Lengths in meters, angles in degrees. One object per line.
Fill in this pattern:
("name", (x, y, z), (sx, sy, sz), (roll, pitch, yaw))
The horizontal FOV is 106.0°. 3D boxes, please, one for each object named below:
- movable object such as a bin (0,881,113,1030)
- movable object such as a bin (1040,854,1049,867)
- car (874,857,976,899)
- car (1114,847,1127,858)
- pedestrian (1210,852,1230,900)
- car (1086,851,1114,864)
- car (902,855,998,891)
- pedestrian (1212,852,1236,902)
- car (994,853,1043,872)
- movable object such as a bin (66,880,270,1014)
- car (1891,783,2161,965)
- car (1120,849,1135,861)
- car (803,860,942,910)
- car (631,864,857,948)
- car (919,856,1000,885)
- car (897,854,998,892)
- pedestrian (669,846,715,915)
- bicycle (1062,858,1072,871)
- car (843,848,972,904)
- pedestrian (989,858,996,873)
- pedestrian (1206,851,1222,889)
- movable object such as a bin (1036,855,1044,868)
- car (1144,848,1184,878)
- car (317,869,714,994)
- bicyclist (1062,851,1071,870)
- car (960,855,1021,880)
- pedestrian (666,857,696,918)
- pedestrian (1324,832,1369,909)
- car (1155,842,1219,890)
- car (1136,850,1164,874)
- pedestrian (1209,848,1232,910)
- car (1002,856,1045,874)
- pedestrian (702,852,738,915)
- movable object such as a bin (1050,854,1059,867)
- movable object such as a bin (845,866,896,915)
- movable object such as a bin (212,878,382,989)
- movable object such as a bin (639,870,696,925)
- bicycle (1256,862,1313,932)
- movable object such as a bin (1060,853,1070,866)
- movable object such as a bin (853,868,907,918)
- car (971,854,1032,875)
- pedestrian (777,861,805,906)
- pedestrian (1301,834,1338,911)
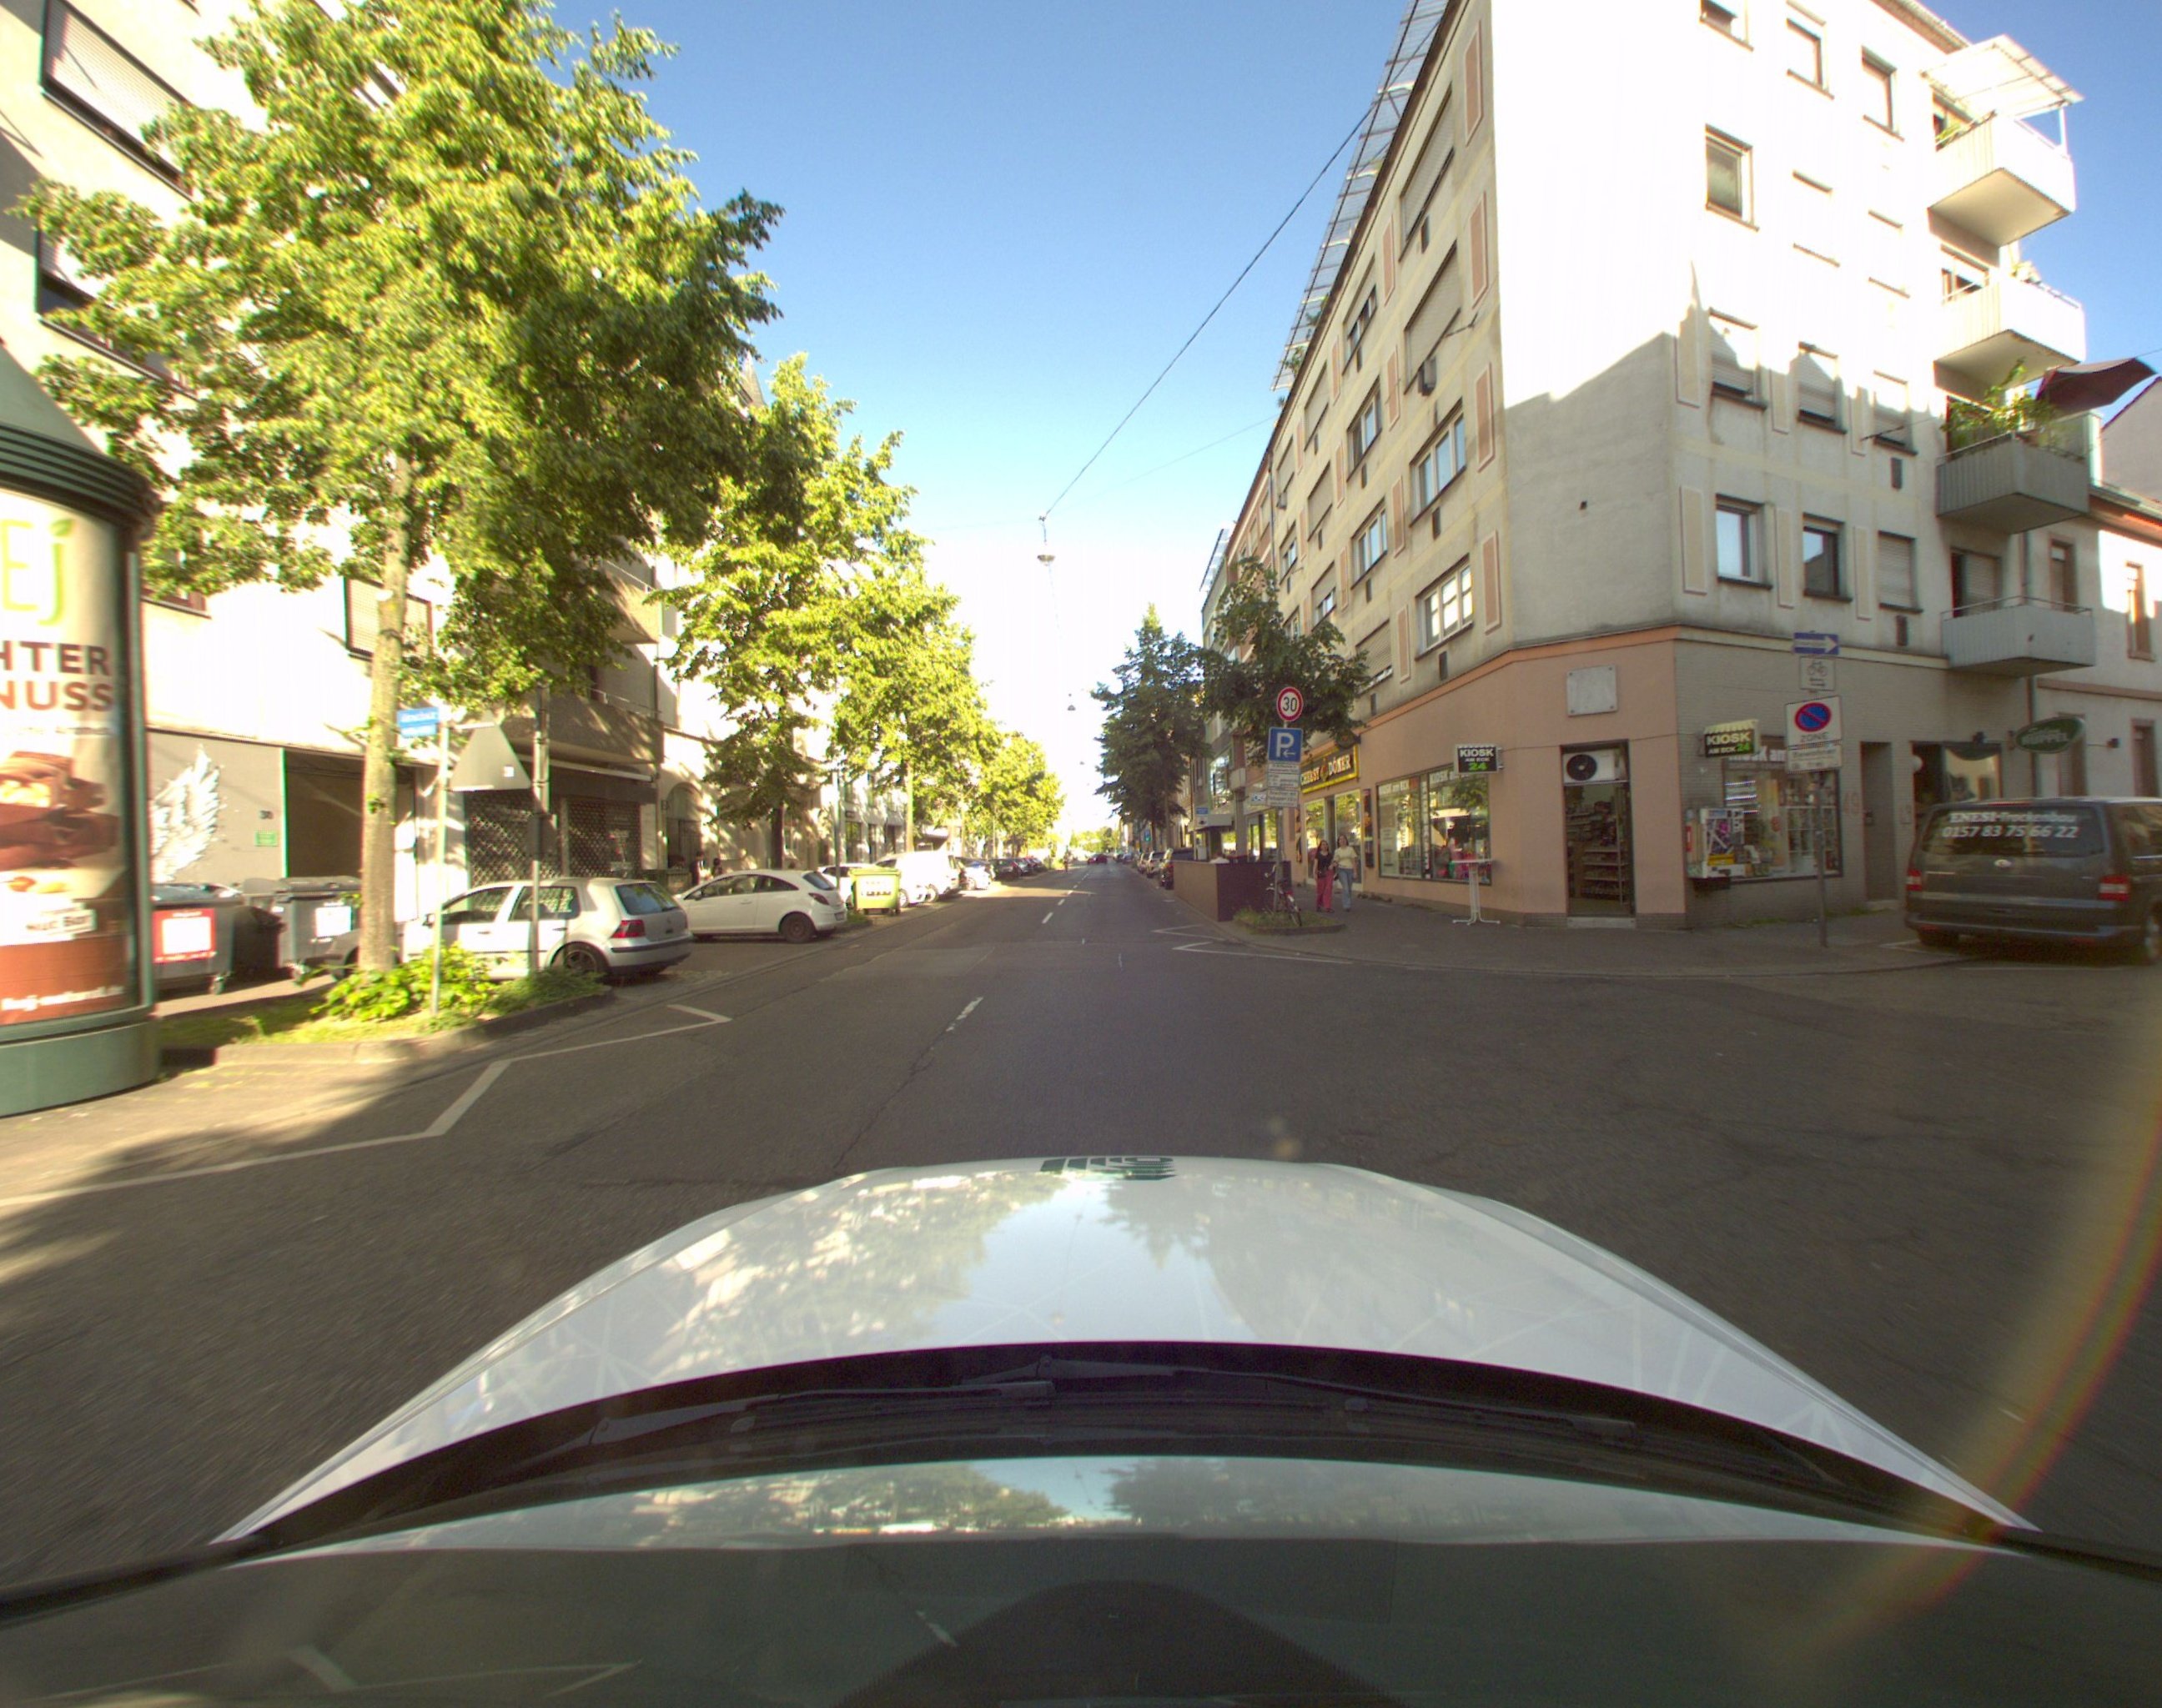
("movable object such as a bin", (-11.418, 1.067, 8.508), (1.029, 1.459, 1.259), (-3, 0, 2))
("movable object such as a bin", (-4.355, 0.781, 96.499), (0.960, 1.471, 1.143), (-3, 0, 0))
("car", (-6.389, 0.976, 33.686), (3.785, 1.558, 1.792), (-2, 0, 2))
("car", (6.546, -0.300, 135.335), (1.966, 1.725, 4.826), (-1, 0, 2))
("pedestrian", (4.092, 0.633, 23.915), (0.471, 1.362, 0.595), (-2, 0, 2))
("car", (2.824, 0.492, 119.270), (3.775, 1.535, 1.646), (-4, 0, -33))
("car", (-6.493, 0.917, 40.748), (4.350, 1.570, 1.981), (-2, 0, 2))
("pedestrian", (4.037, 0.640, 22.981), (0.550, 1.379, 0.595), (-2, 0, 2))
("car", (-5.294, 0.739, 69.502), (3.903, 1.485, 1.772), (-2, 0, 3))
("movable object such as a bin", (-11.269, 1.106, 10.123), (1.029, 1.459, 1.259), (-3, 0, 2))
("car", (12.716, 0.105, 10.424), (4.502, 1.917, 1.926), (-3, 1, -26))
("car", (6.587, 0.111, 115.933), (1.910, 1.478, 4.967), (-6, 0, 2))
("car", (-6.716, 0.984, 26.576), (3.964, 1.464, 1.888), (-1, 0, 2))
("car", (-6.638, 1.005, 16.362), (3.767, 1.464, 1.709), (-1, 0, -2))
("car", (-6.731, 0.896, 45.426), (4.235, 1.458, 1.979), (-2, 0, -2))
("car", (-6.229, 0.887, 38.350), (4.350, 1.570, 1.947), (-2, 0, 2))
("pedestrian", (-10.226, 0.687, 21.419), (0.772, 1.766, 0.763), (2, 0, -1))
("bicycle", (-1.288, 0.938, 73.277), (0.722, 1.169, 2.198), (-2, 0, 2))
("car", (-6.183, 0.766, 29.340), (4.090, 1.836, 2.039), (-1, 0, 2))
("pedestrian", (-8.835, 1.119, 80.918), (0.505, 1.408, 0.826), (-1, 1, 6))
("pedestrian", (4.696, 0.561, 28.824), (0.469, 1.331, 0.485), (-2, 0, 15))
("movable object such as a bin", (-4.521, 0.800, 89.825), (0.752, 1.341, 0.805), (-3, 0, 0))
("car", (4.806, 0.486, 47.751), (1.876, 1.527, 4.235), (-5, 0, 1))
("car", (-7.238, 0.960, 10.722), (3.983, 1.464, 1.749), (-1, -1, 1))
("bicyclist", (-1.302, 0.583, 73.155), (0.722, 1.700, 1.283), (-2, 0, 2))
("car", (-5.731, 0.846, 51.973), (3.775, 1.458, 1.777), (-2, 0, -6))
("pedestrian", (-11.308, 0.931, 23.030), (0.431, 1.672, 0.639), (-2, 0, 4))
("pedestrian", (5.918, 0.367, 18.181), (0.639, 1.645, 0.748), (-4, 0, 0))
("car", (4.324, 0.460, 33.918), (1.987, 1.689, 4.517), (-6, 0, 1))
("car", (5.075, 0.546, 60.146), (1.608, 1.528, 4.235), (-6, 0, 1))
("pedestrian", (3.520, 0.621, 20.535), (0.471, 1.529, 0.462), (-2, 0, 2))
("car", (-5.211, 1.009, 74.686), (3.735, 1.468, 1.740), (-2, 0, 1))
("pedestrian", (-9.487, 0.765, 21.404), (0.563, 1.626, 0.727), (2, 0, -1))
("movable object such as a bin", (-3.128, 0.773, 96.597), (1.038, 1.471, 1.143), (-3, 0, 0))
("movable object such as a bin", (-6.162, 1.059, 23.894), (1.188, 1.345, 0.932), (-2, 0, 0))
("movable object such as a bin", (-11.320, 1.110, 11.832), (1.073, 1.415, 1.353), (-3, 0, 2))
("movable object such as a bin", (-11.155, 1.145, 22.011), (0.818, 1.397, 1.228), (-2, 0, 4))
("bicycle", (3.808, 0.766, 15.380), (0.505, 1.163, 2.145), (-3, 0, 1))
("movable object such as a bin", (-1.866, 0.655, 96.745), (1.038, 1.471, 1.452), (-3, 0, 0))
("movable object such as a bin", (-5.646, 1.084, 22.906), (1.233, 1.302, 0.870), (-2, 0, 0))
("car", (-6.109, 0.800, 62.941), (4.478, 1.458, 1.790), (-1, 0, 0))
("pedestrian", (-9.724, 0.980, 27.327), (0.590, 1.494, 0.843), (0, 0, 3))
("pedestrian", (5.298, 0.395, 18.116), (0.512, 1.645, 0.748), (-4, 0, 0))
